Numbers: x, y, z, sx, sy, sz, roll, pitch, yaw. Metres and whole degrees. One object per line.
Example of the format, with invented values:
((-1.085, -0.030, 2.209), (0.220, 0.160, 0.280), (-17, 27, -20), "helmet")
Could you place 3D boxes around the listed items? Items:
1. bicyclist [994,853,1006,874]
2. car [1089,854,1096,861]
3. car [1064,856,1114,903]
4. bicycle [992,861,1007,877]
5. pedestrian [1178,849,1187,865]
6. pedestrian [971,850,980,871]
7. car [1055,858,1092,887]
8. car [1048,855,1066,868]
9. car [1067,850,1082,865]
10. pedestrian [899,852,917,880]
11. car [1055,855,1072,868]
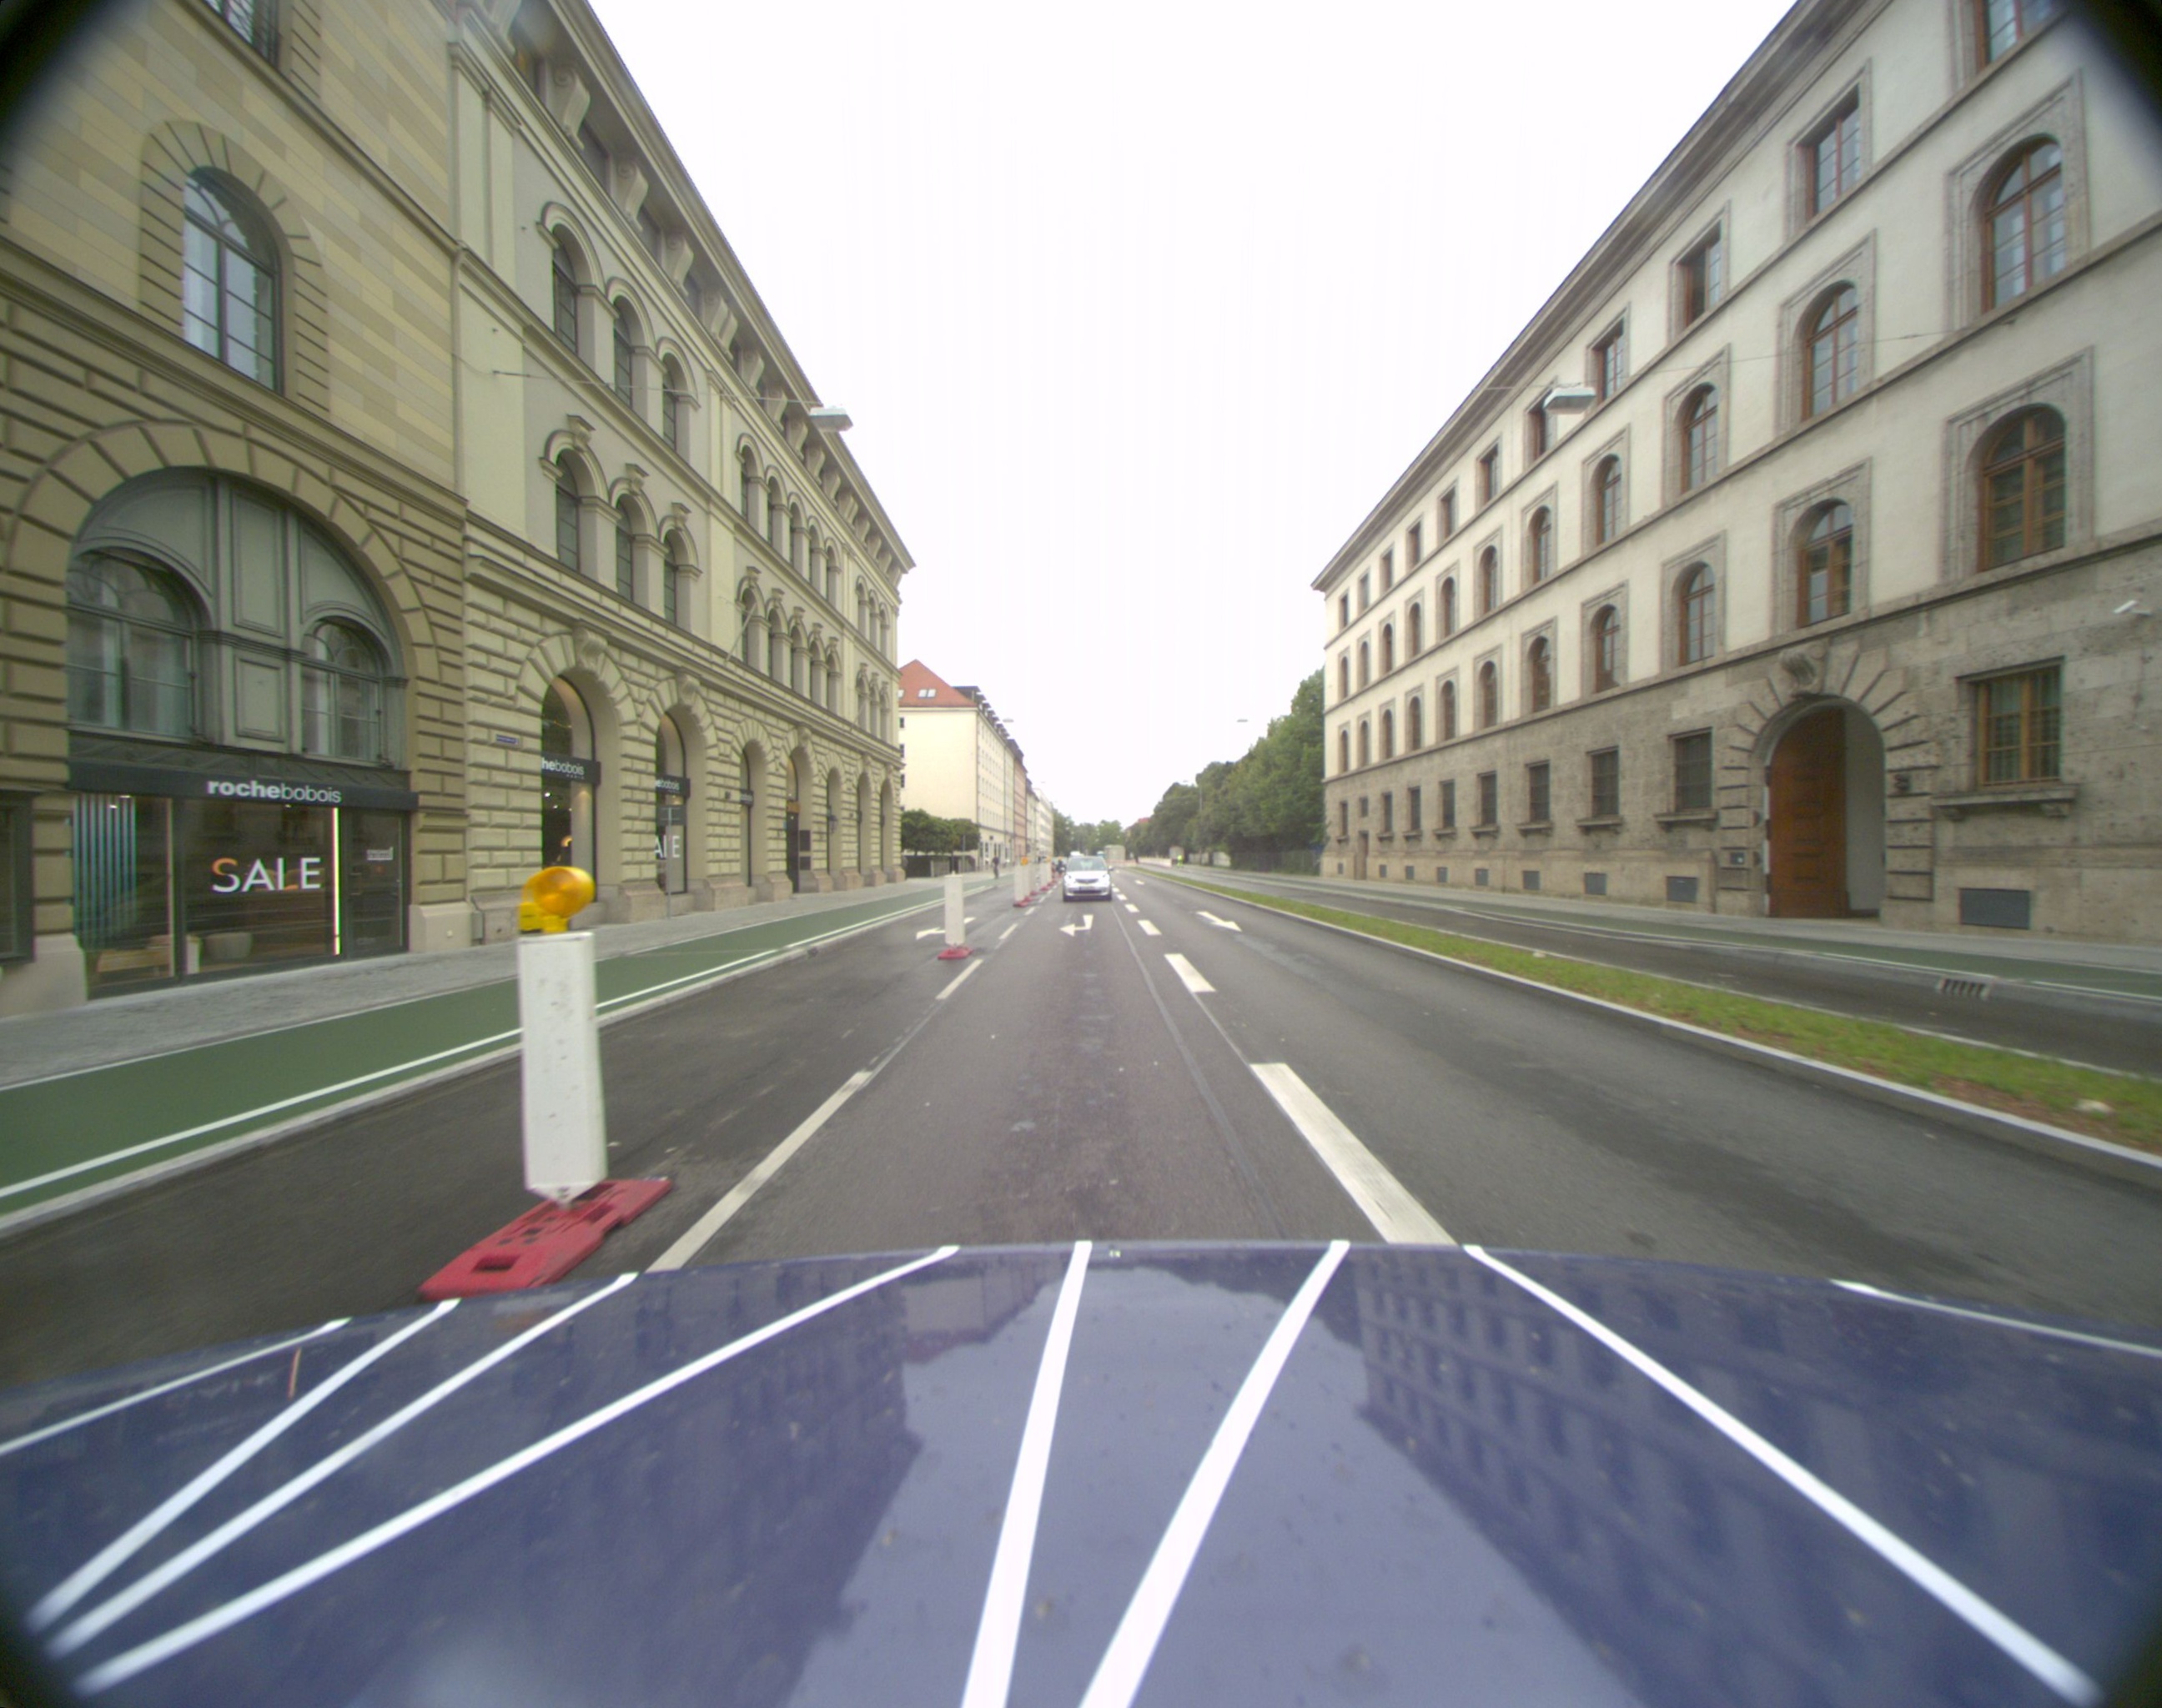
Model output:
((-5.843, 0.676, 54.677), (0.724, 1.543, 0.858), (-2, 1, 0), "bicyclist")
((2.605, 0.732, 172.339), (1.739, 1.425, 4.000), (-1, 0, 1), "car")
((0.295, 0.862, 27.297), (1.633, 1.494, 4.000), (-1, 0, 1), "car")
((-5.833, 1.071, 54.735), (0.751, 1.026, 2.531), (-2, 0, 0), "bicycle")
((13.182, 0.391, 98.899), (0.869, 2.002, 0.756), (-2, 1, -44), "pedestrian")
((-9.540, 0.549, 68.433), (0.655, 1.863, 0.826), (1, 1, 1), "pedestrian")
((-0.367, 0.985, 42.468), (1.922, 1.433, 4.306), (-2, 0, 0), "car")
((-2.525, 0.799, 81.077), (1.739, 1.313, 4.000), (-1, 0, 1), "car")
((-0.903, 0.446, 107.171), (1.998, 2.002, 4.000), (0, 0, 1), "car")
((-10.562, 0.700, 46.333), (0.635, 1.694, 1.082), (0, 1, -42), "pedestrian")
((-1.981, 0.826, 86.336), (1.739, 1.425, 4.000), (-1, 0, 1), "car")
